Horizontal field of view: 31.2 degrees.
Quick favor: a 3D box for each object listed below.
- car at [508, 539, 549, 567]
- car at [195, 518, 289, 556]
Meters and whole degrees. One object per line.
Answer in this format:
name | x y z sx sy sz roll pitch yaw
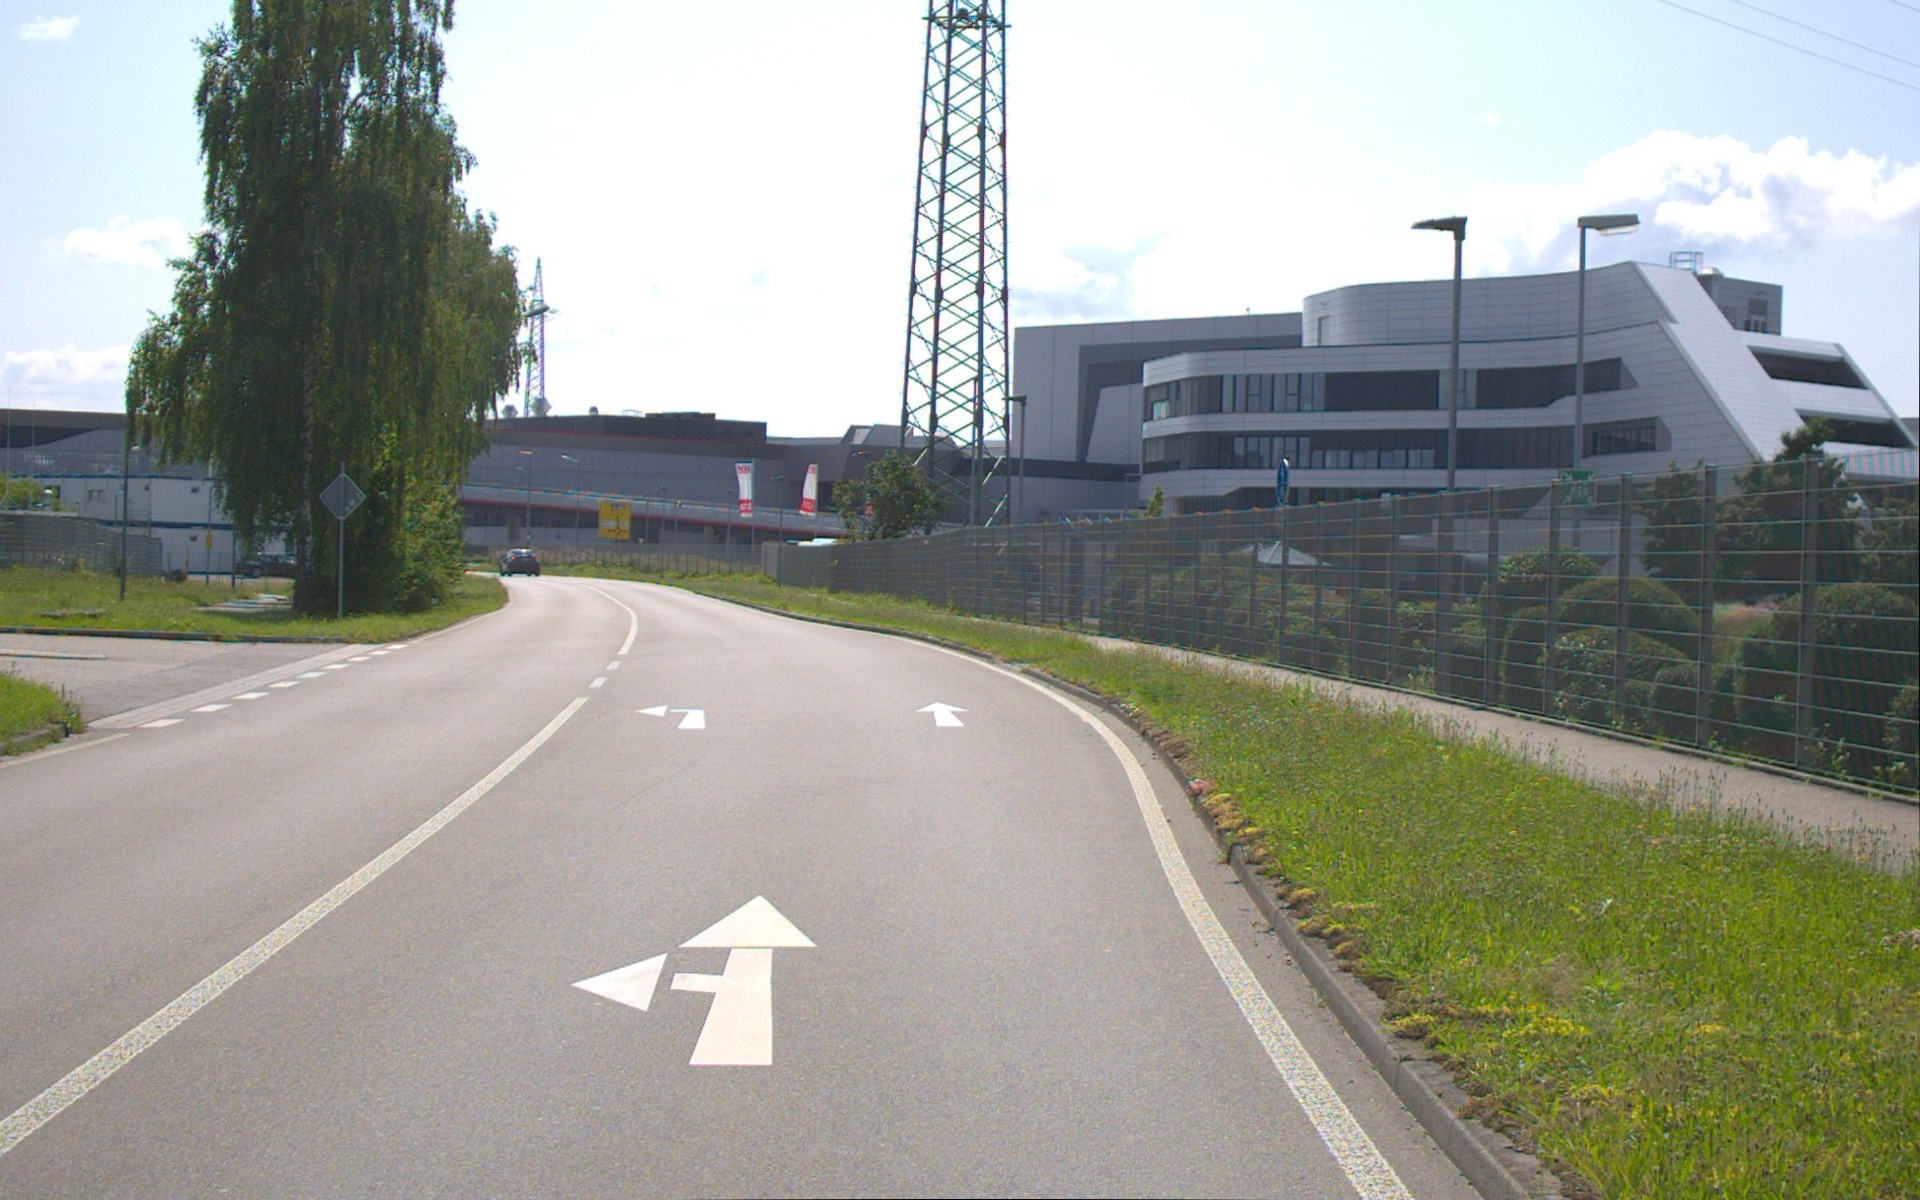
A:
car | -24.561 -2.675 195.759 2.012 1.503 4.001 2 1 -3
car | -32.671 -2.846 156.434 3.986 1.568 2.001 2 1 -7
